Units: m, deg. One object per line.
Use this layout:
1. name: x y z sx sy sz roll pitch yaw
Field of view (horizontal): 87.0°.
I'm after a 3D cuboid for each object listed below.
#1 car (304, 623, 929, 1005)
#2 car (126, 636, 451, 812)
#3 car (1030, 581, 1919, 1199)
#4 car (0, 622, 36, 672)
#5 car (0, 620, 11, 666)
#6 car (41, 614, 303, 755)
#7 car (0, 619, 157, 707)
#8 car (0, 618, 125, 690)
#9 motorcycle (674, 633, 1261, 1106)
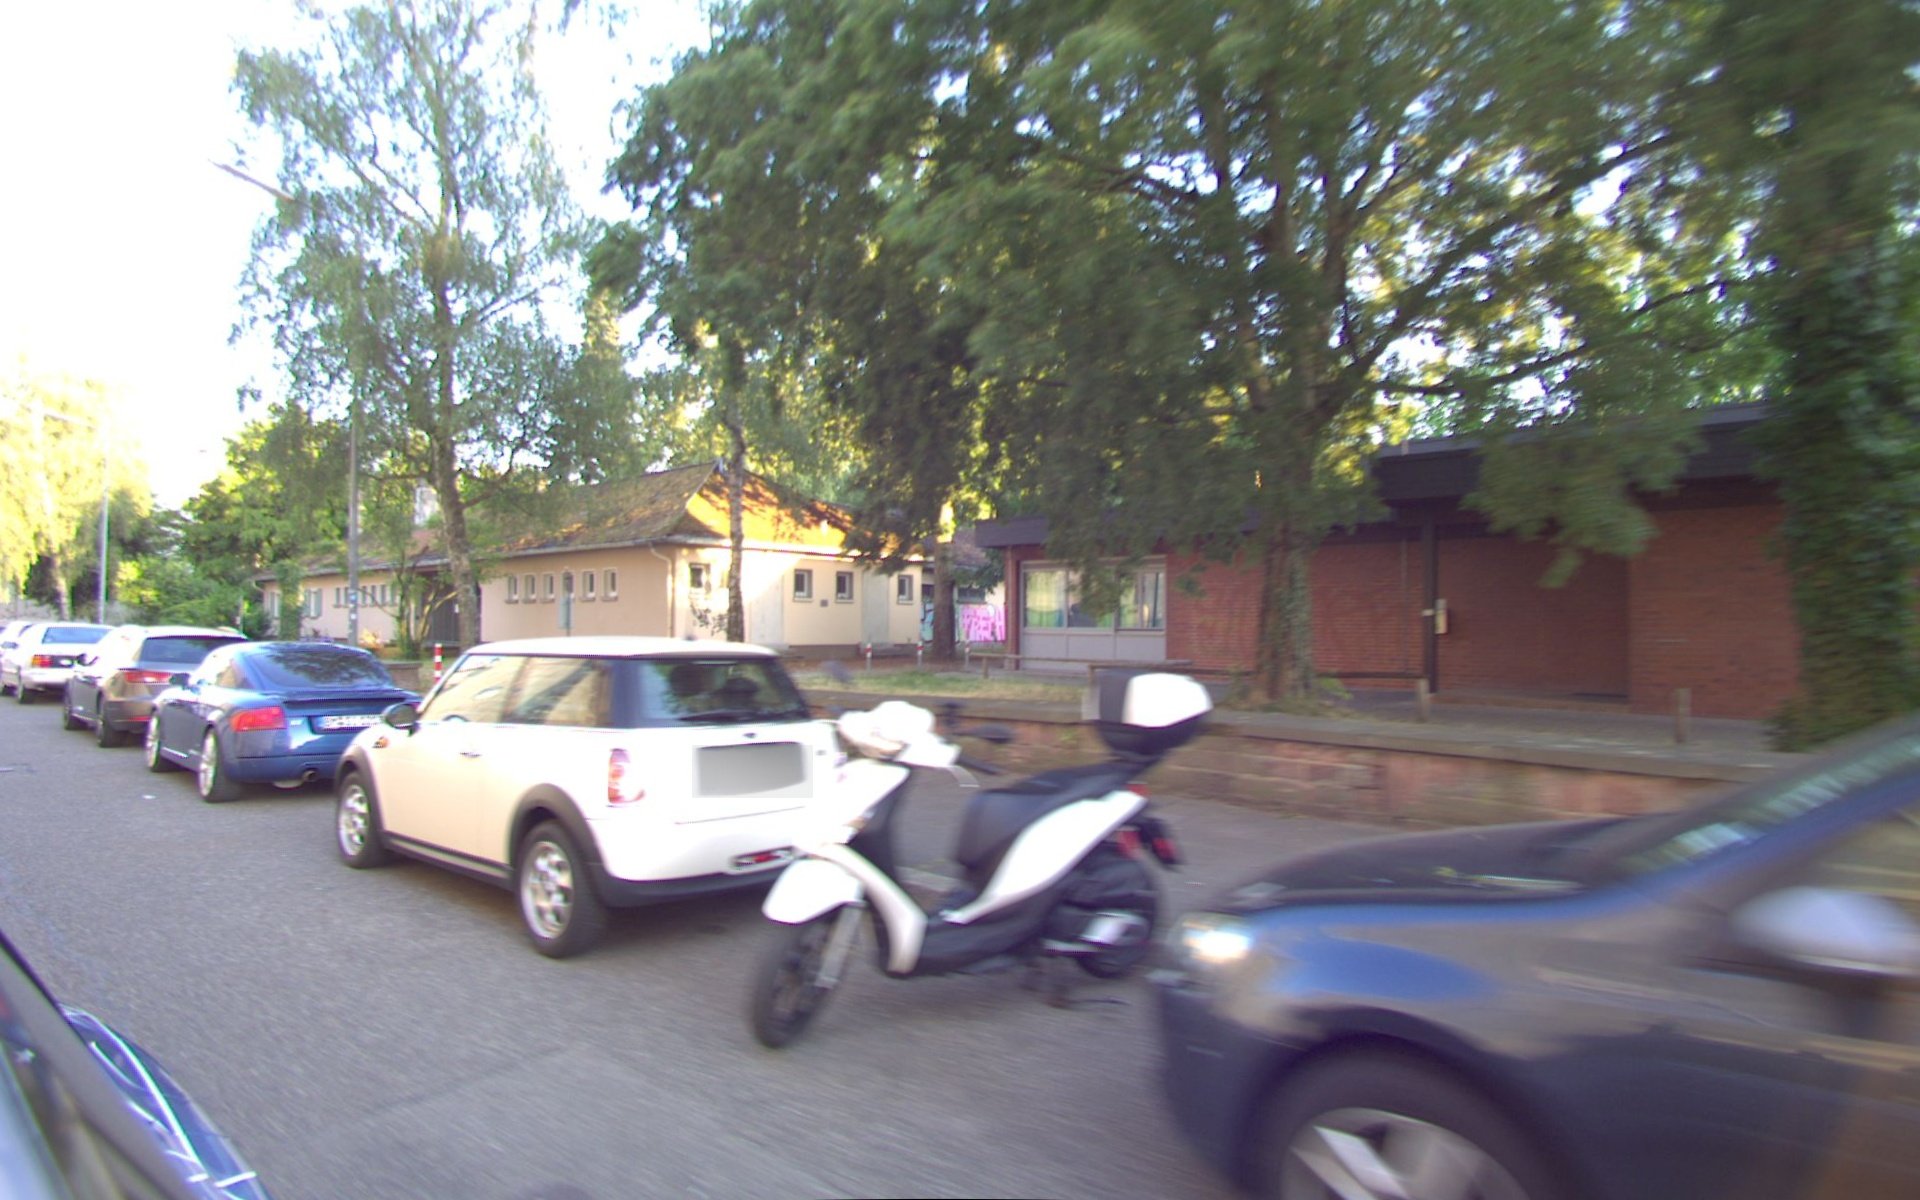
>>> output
1. car: -2.126 0.897 5.730 3.801 1.442 1.584 -1 -5 41
2. car: -6.641 1.041 9.822 4.154 1.323 1.641 -1 -3 43
3. car: 2.370 0.757 1.654 4.358 1.507 1.697 -1 -4 41
4. car: -29.886 1.414 30.996 4.287 1.464 1.972 -1 -2 42
5. car: -34.498 1.479 35.070 4.788 1.530 1.972 -1 -2 42
6. car: -10.537 1.005 13.399 4.756 1.549 1.840 -1 -3 41
7. car: -16.704 1.127 18.934 4.746 1.457 1.763 -1 -5 41
8. car: -20.681 1.162 22.906 3.995 1.464 1.974 -1 -2 39
9. motorcycle: 0.093 0.810 3.897 2.135 1.313 0.882 0 -1 -34
